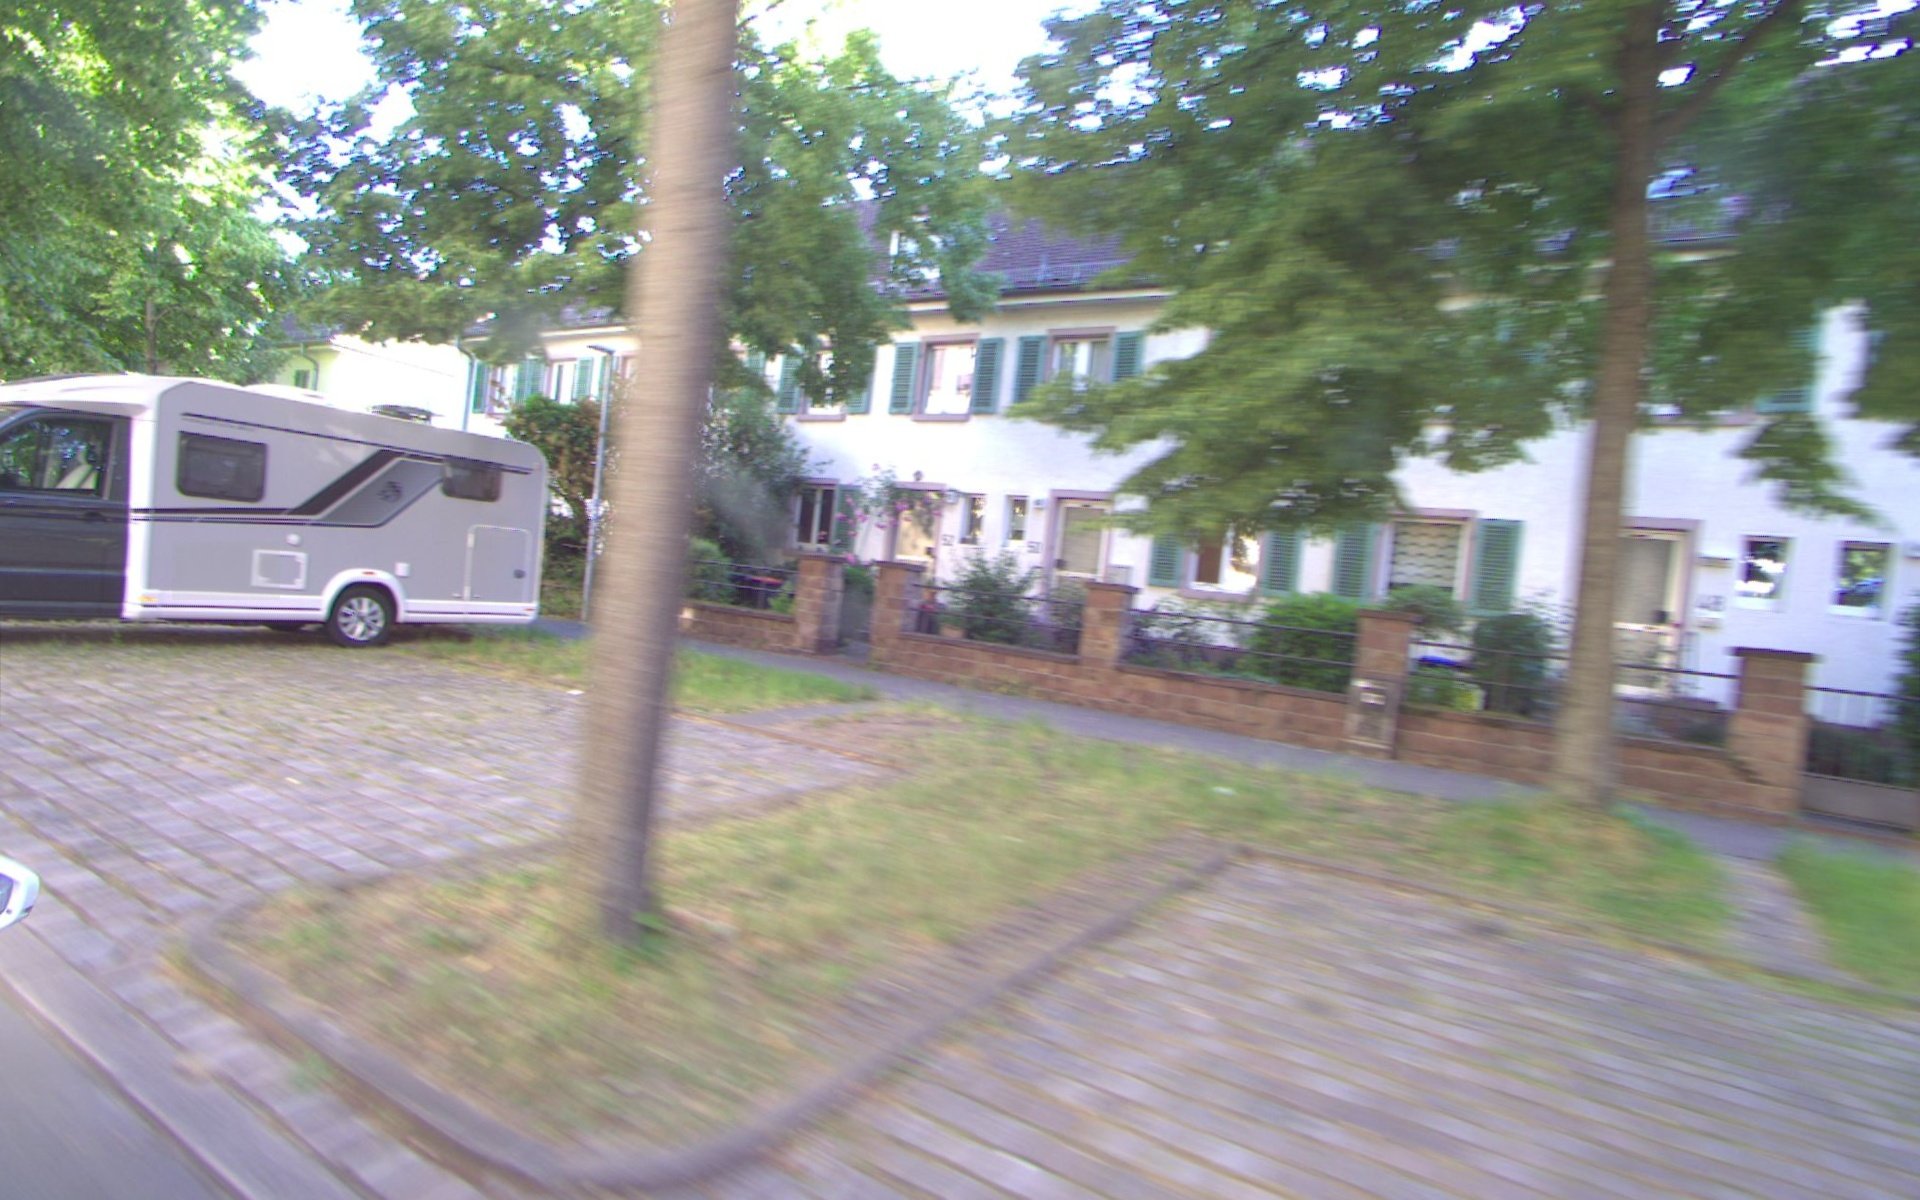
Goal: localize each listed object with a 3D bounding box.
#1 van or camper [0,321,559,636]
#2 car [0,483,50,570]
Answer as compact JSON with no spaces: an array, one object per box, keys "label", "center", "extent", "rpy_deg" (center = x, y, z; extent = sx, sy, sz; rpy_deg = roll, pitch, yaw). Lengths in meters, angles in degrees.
[{"label":"van or camper","center":[-8.237,-1.105,10.733],"extent":[2.424,2.683,7.143],"rpy_deg":[7,3,33]},{"label":"car","center":[-18.250,-1.486,16.874],"extent":[1.661,1.471,4.041],"rpy_deg":[7,-1,28]}]
